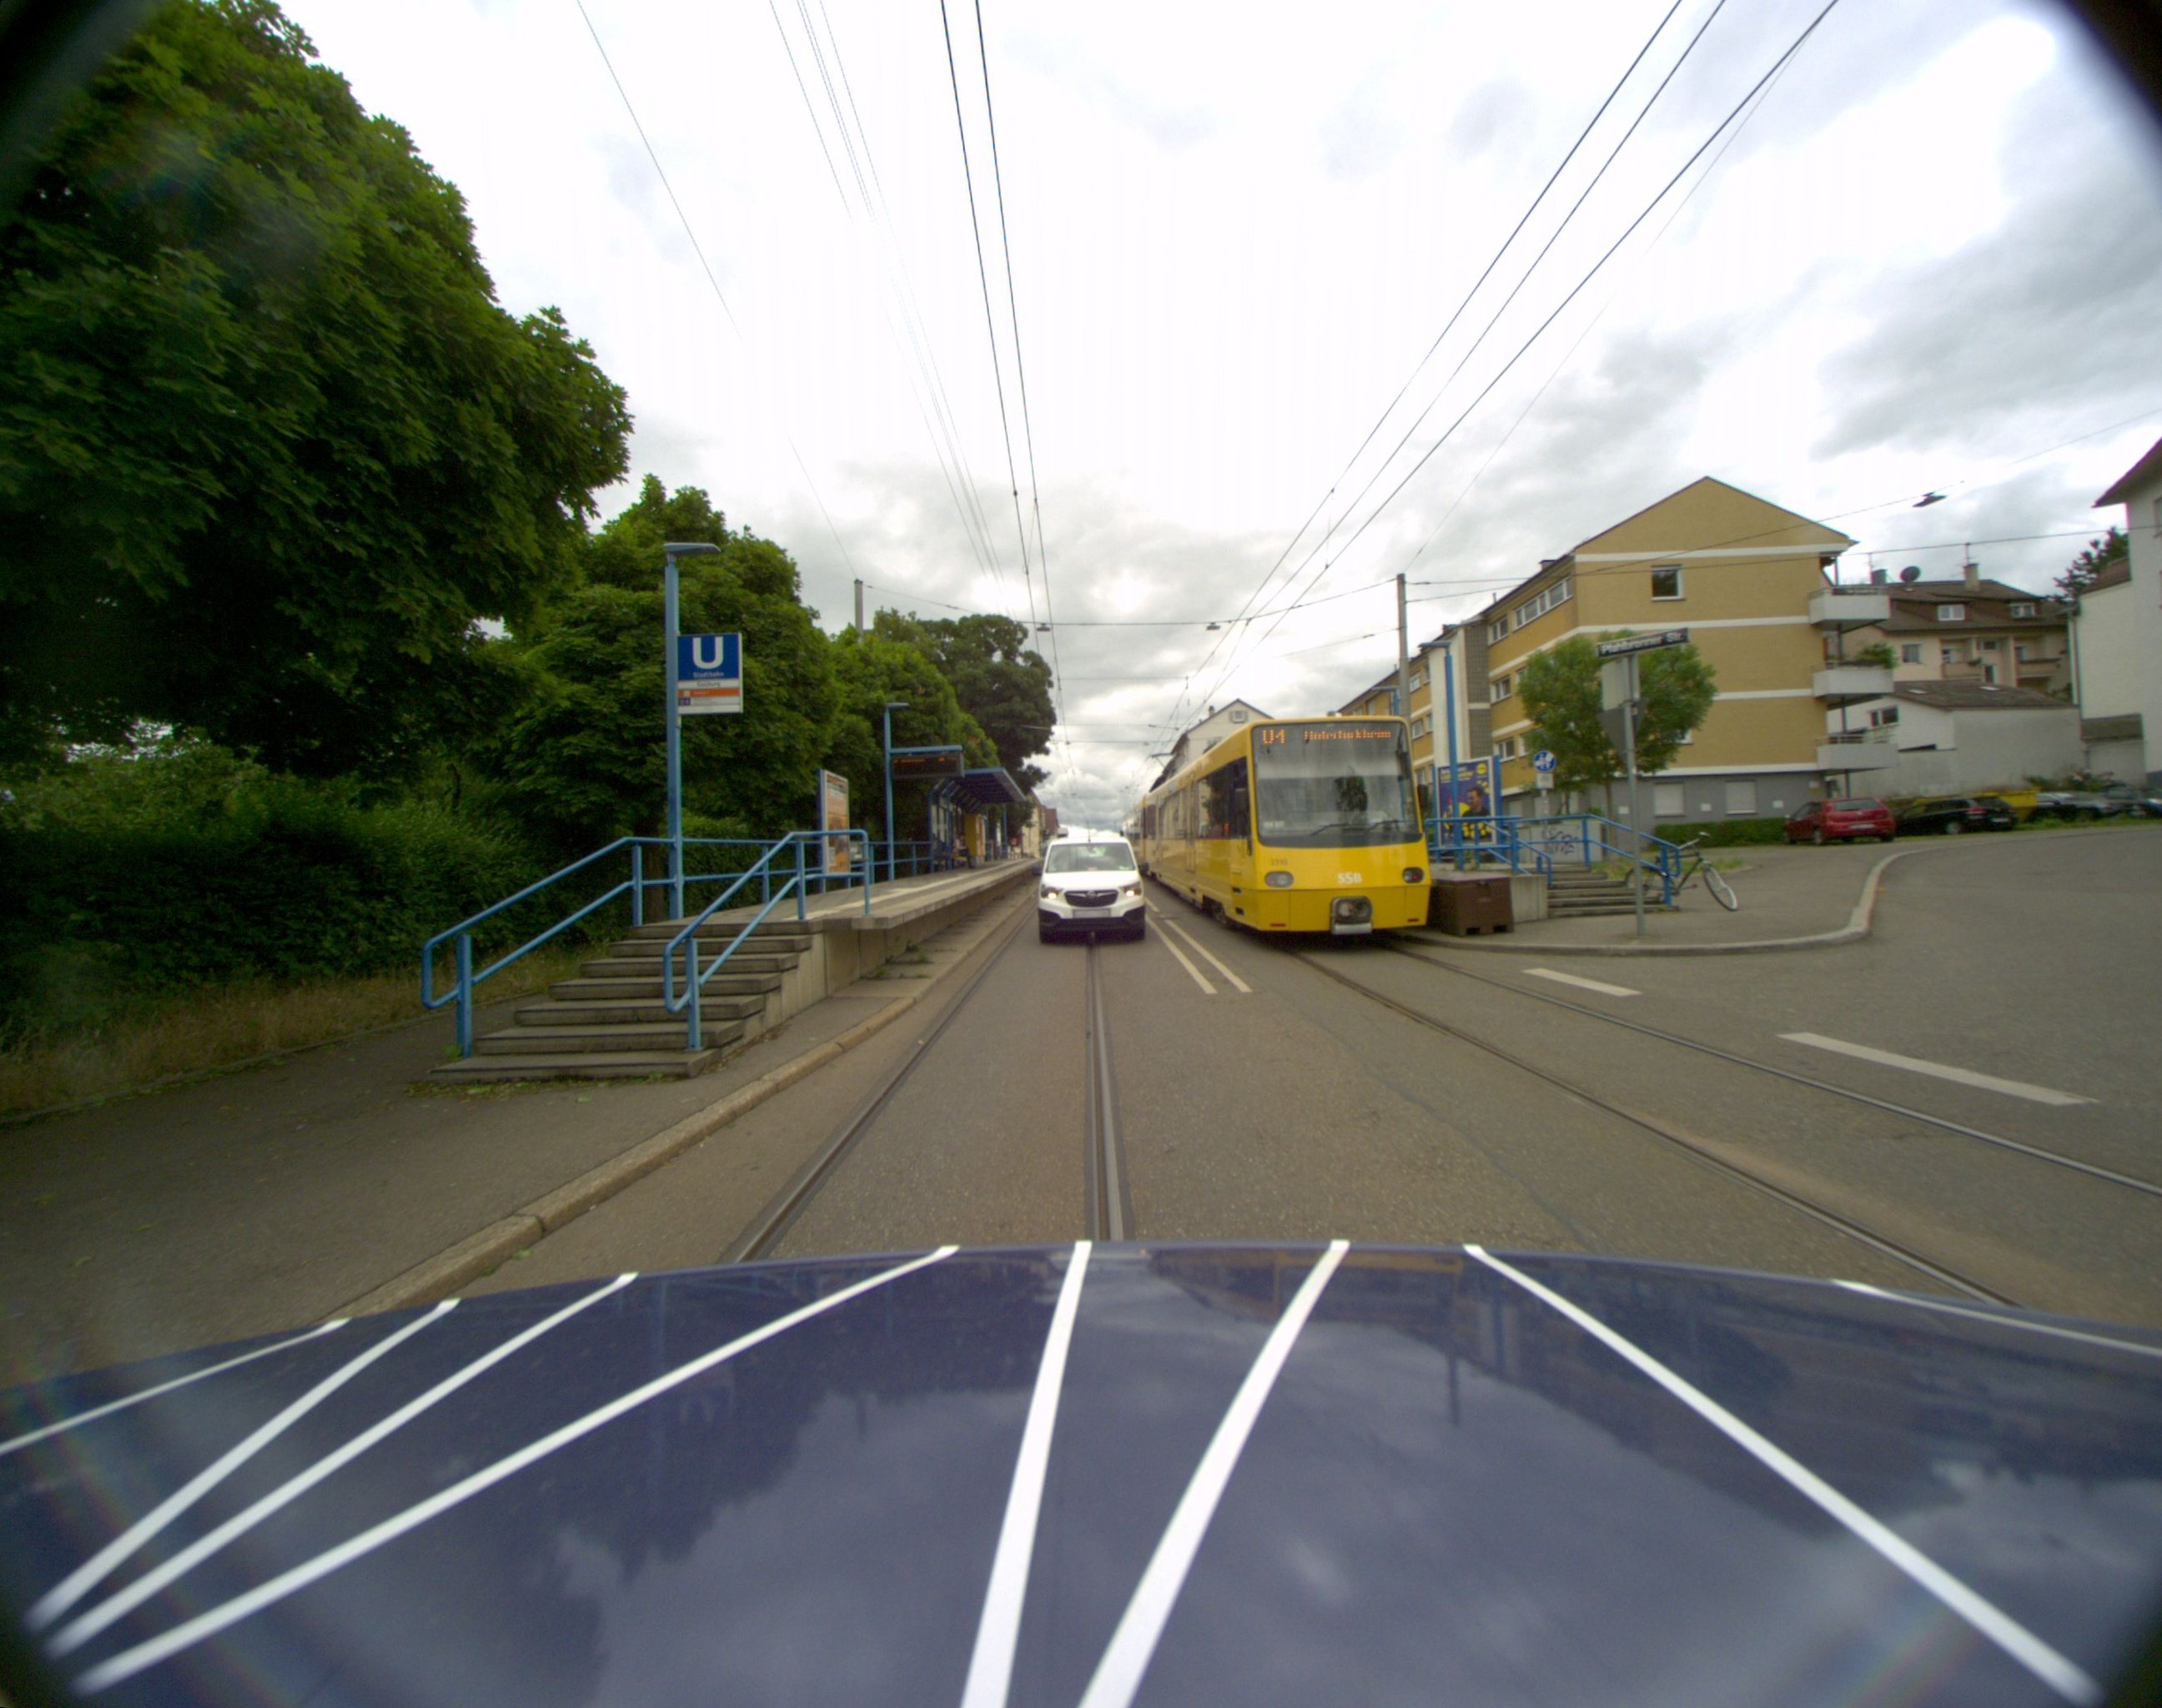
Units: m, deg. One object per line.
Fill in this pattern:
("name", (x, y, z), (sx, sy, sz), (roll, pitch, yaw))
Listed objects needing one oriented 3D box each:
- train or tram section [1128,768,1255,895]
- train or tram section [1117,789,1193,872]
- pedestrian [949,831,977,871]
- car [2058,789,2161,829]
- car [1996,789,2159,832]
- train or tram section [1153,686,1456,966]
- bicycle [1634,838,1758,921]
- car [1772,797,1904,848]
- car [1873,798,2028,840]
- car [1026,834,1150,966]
("train or tram section", (3.597, -0.743, 28.223), (2.831, 3.616, 12.127), (-2, 1, 0))
("train or tram section", (3.621, -1.147, 40.407), (2.758, 3.616, 12.127), (-2, 1, 0))
("pedestrian", (-3.950, -0.100, 25.415), (0.781, 1.307, 0.657), (-2, 1, 1))
("car", (41.259, -1.738, 29.650), (1.839, 1.456, 4.004), (-2, 1, 16))
("car", (38.551, -1.631, 29.576), (1.839, 1.456, 4.004), (-2, 1, 16))
("train or tram section", (3.558, -0.459, 16.154), (2.857, 3.616, 12.128), (-2, 1, 1))
("bicycle", (9.382, 0.356, 11.673), (0.713, 1.174, 1.488), (-1, 2, 1))
("car", (24.620, -0.996, 24.899), (1.838, 1.456, 4.006), (-2, 1, 26))
("car", (33.490, -1.308, 29.447), (1.839, 1.456, 4.002), (-2, 1, 10))
("car", (0.169, 0.649, 13.243), (1.730, 1.850, 4.420), (-2, 1, 2))
